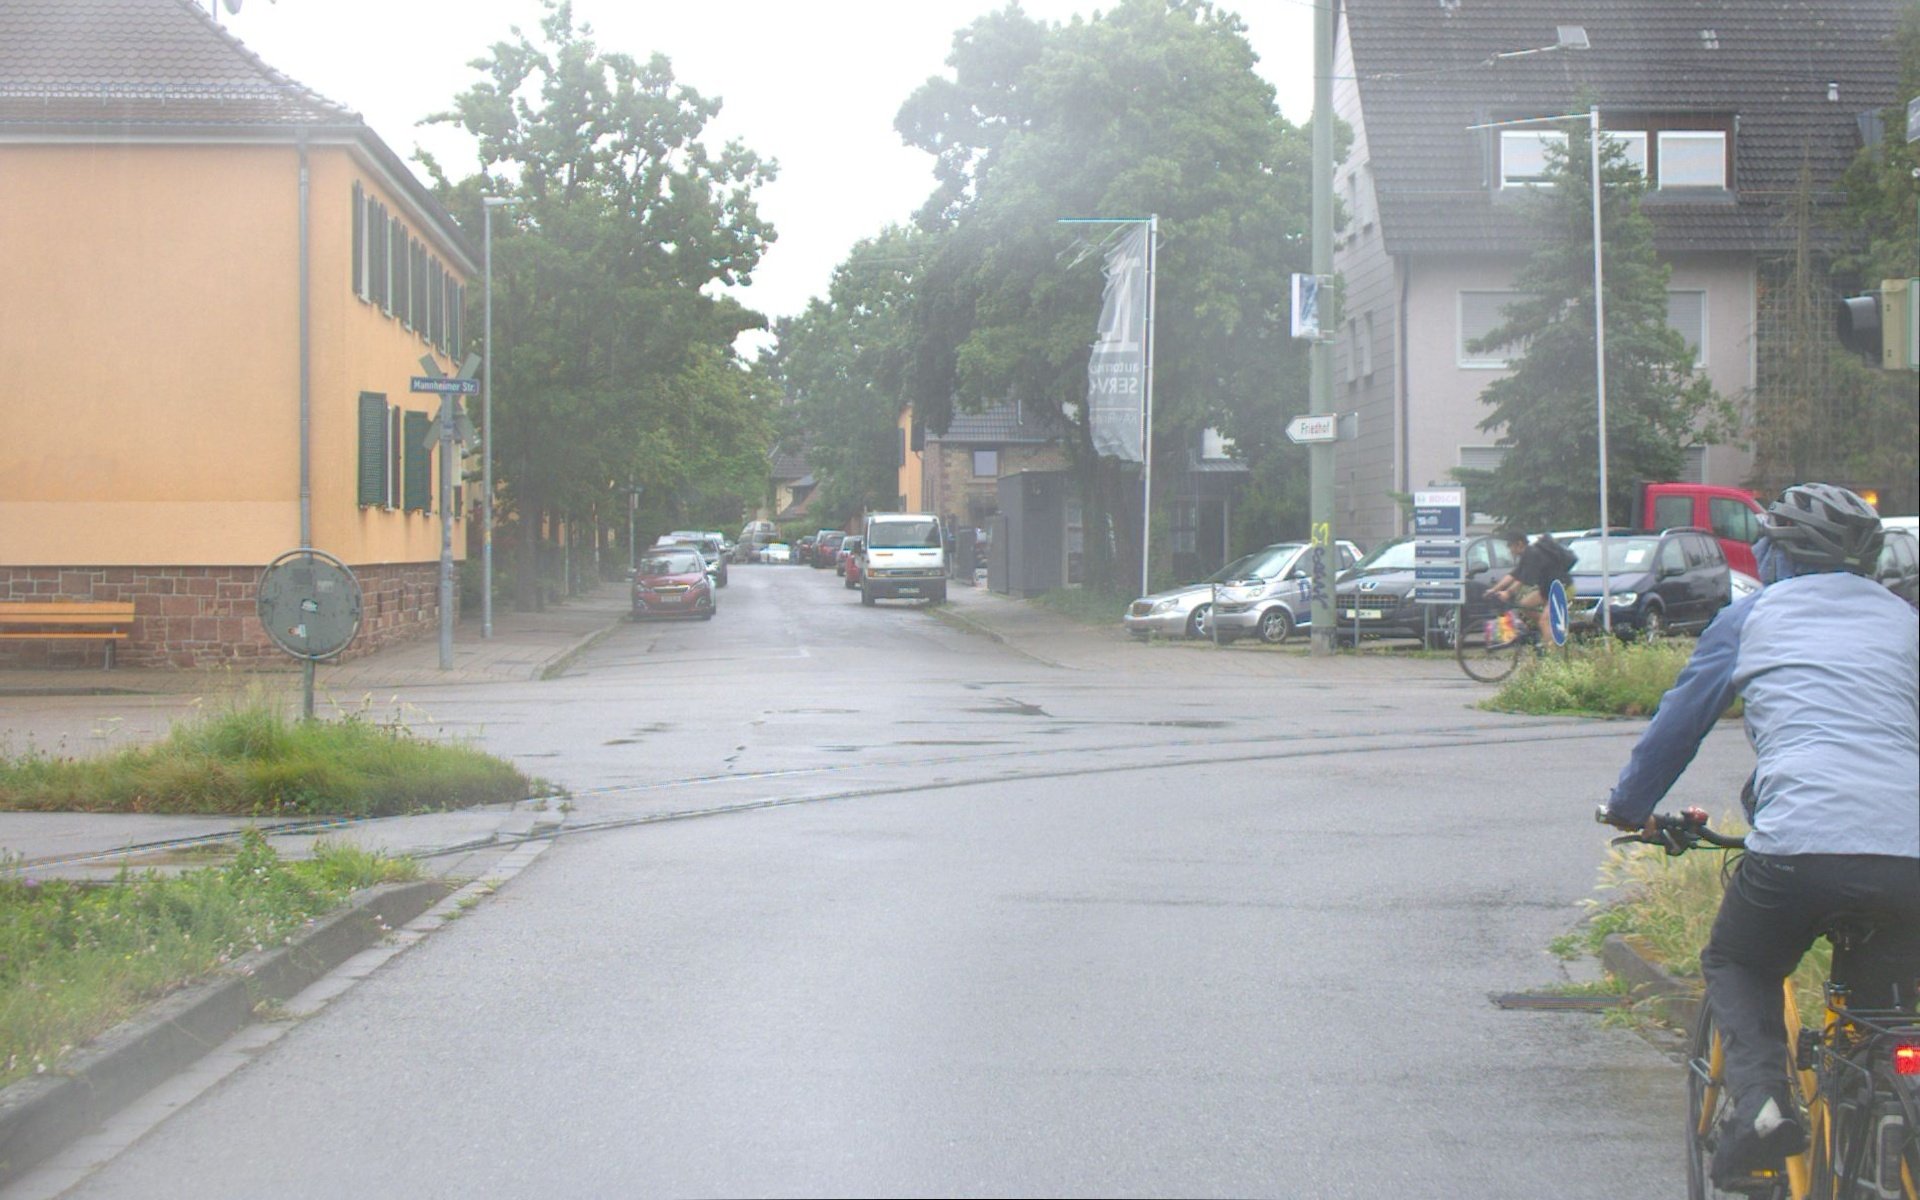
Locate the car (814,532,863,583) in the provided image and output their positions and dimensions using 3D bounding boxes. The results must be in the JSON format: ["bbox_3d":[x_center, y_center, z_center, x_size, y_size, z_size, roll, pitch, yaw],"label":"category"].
[{"bbox_3d":[-4.987,-1.742,140.749,1.828,2.007,4.001,2,1,-4],"label":"car"}]

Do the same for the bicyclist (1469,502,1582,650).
[{"bbox_3d":[6.228,-0.267,37.903,1.039,1.592,0.950,-1,1,-3],"label":"bicyclist"}]

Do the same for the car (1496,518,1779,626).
[{"bbox_3d":[10.251,-0.406,51.932,3.969,1.592,1.998,0,0,19],"label":"car"}]

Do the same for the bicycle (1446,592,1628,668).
[{"bbox_3d":[6.349,0.325,37.922,1.813,0.784,0.942,-1,1,-3],"label":"bicycle"}]

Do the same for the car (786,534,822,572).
[{"bbox_3d":[-8.458,-2.559,186.099,1.828,2.007,4.001,2,1,-4],"label":"car"}]

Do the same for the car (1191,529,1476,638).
[{"bbox_3d":[5.625,-0.265,51.848,3.858,1.573,1.808,-1,1,-21],"label":"car"}]

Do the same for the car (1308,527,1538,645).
[{"bbox_3d":[6.548,-0.224,48.319,1.805,1.573,3.865,0,1,31],"label":"car"}]

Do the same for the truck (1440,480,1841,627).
[{"bbox_3d":[10.902,-0.715,55.054,6.088,2.264,1.998,0,0,19],"label":"truck"}]

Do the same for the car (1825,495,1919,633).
[{"bbox_3d":[15.321,-0.529,51.074,4.432,2.007,2.000,0,0,1],"label":"car"}]

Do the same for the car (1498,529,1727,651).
[{"bbox_3d":[8.933,-0.165,46.854,1.805,1.573,3.865,0,1,31],"label":"car"}]

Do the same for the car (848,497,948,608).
[{"bbox_3d":[-1.544,-1.159,83.735,2.153,2.564,4.134,2,1,-4],"label":"car"}]

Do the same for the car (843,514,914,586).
[{"bbox_3d":[-2.399,-1.465,100.928,1.993,2.007,4.000,2,1,-2],"label":"car"}]

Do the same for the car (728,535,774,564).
[{"bbox_3d":[-12.780,-3.077,209.752,1.828,1.691,4.033,2,1,-18],"label":"car"}]

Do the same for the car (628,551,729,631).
[{"bbox_3d":[-5.825,-0.193,71.505,1.993,1.612,4.001,0,0,-4],"label":"car"}]

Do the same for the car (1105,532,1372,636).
[{"bbox_3d":[4.461,-0.272,55.144,3.858,1.573,1.808,-1,1,-21],"label":"car"}]

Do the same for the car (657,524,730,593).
[{"bbox_3d":[-8.187,-1.287,105.857,1.993,2.007,4.000,2,1,-2],"label":"car"}]

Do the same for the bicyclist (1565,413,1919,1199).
[{"bbox_3d":[1.551,0.421,6.214,0.751,1.480,0.846,-1,1,1],"label":"bicyclist"}]

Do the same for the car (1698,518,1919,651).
[{"bbox_3d":[11.612,-0.227,46.468,1.997,1.711,3.993,0,1,31],"label":"car"}]

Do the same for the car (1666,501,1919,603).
[{"bbox_3d":[14.345,-0.799,58.120,4.432,1.682,2.000,0,0,1],"label":"car"}]

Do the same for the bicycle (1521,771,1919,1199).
[{"bbox_3d":[1.559,0.916,6.302,0.752,1.069,1.927,-1,1,1],"label":"bicycle"}]

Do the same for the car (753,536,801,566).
[{"bbox_3d":[-10.863,-2.925,204.354,1.828,1.691,4.033,2,1,-18],"label":"car"}]
